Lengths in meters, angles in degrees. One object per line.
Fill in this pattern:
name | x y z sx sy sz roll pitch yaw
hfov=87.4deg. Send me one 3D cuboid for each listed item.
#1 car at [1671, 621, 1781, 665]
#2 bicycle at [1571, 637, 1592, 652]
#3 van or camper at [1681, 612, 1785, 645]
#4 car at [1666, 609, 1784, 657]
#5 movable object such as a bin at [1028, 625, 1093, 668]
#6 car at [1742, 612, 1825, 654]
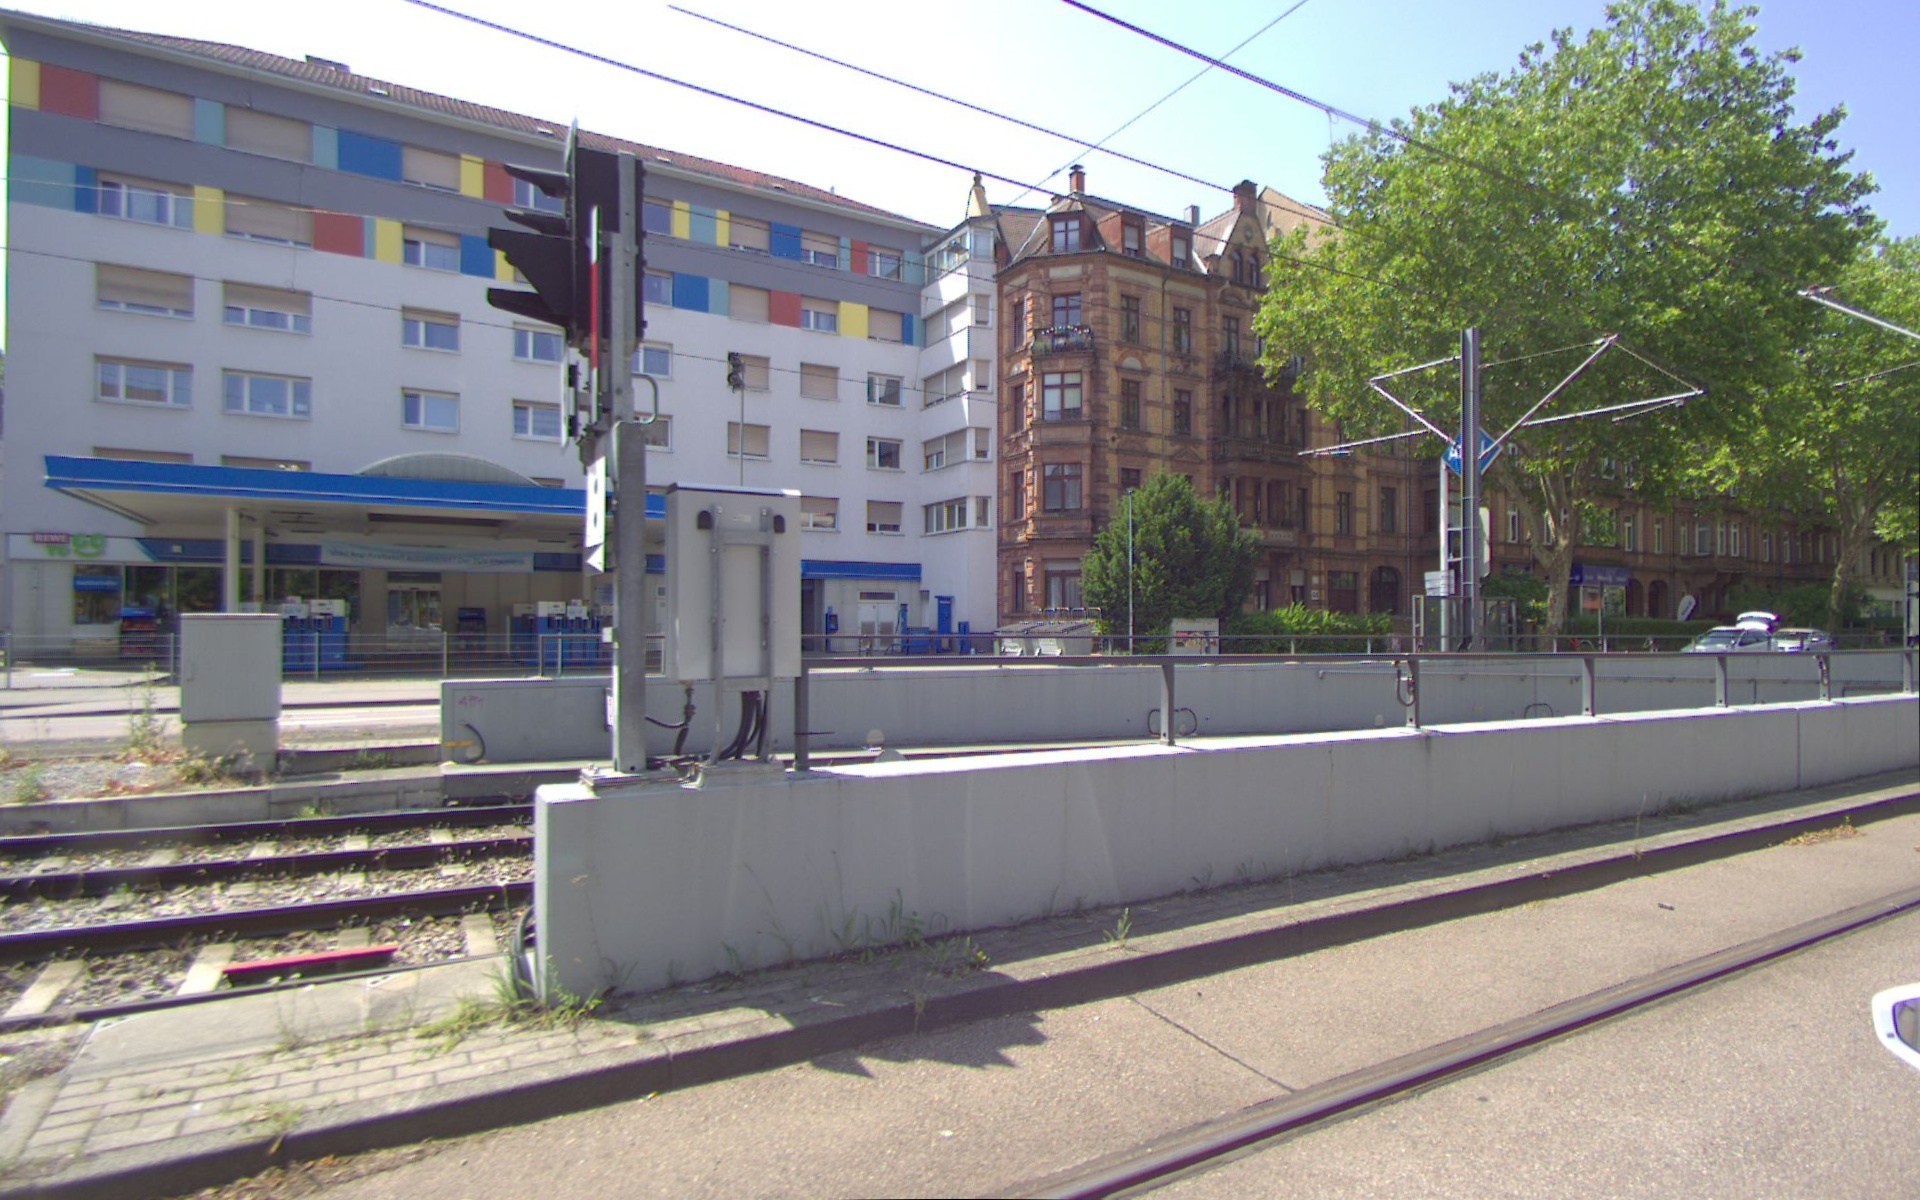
car | 30.769 1.685 40.310 4.664 1.646 1.983 1 -1 -31
bicycle | 28.885 2.048 46.651 1.329 0.659 0.278 1 -1 -32
van or camper | 45.271 1.621 58.926 1.905 1.861 4.532 1 -1 -24
car | 26.461 1.117 34.747 3.821 1.582 1.541 1 -1 -22
movable object such as a bin | 3.386 1.554 33.995 1.453 1.403 1.773 1 -1 -32
car | 35.358 1.396 43.123 3.665 1.707 1.645 1 -1 -31
